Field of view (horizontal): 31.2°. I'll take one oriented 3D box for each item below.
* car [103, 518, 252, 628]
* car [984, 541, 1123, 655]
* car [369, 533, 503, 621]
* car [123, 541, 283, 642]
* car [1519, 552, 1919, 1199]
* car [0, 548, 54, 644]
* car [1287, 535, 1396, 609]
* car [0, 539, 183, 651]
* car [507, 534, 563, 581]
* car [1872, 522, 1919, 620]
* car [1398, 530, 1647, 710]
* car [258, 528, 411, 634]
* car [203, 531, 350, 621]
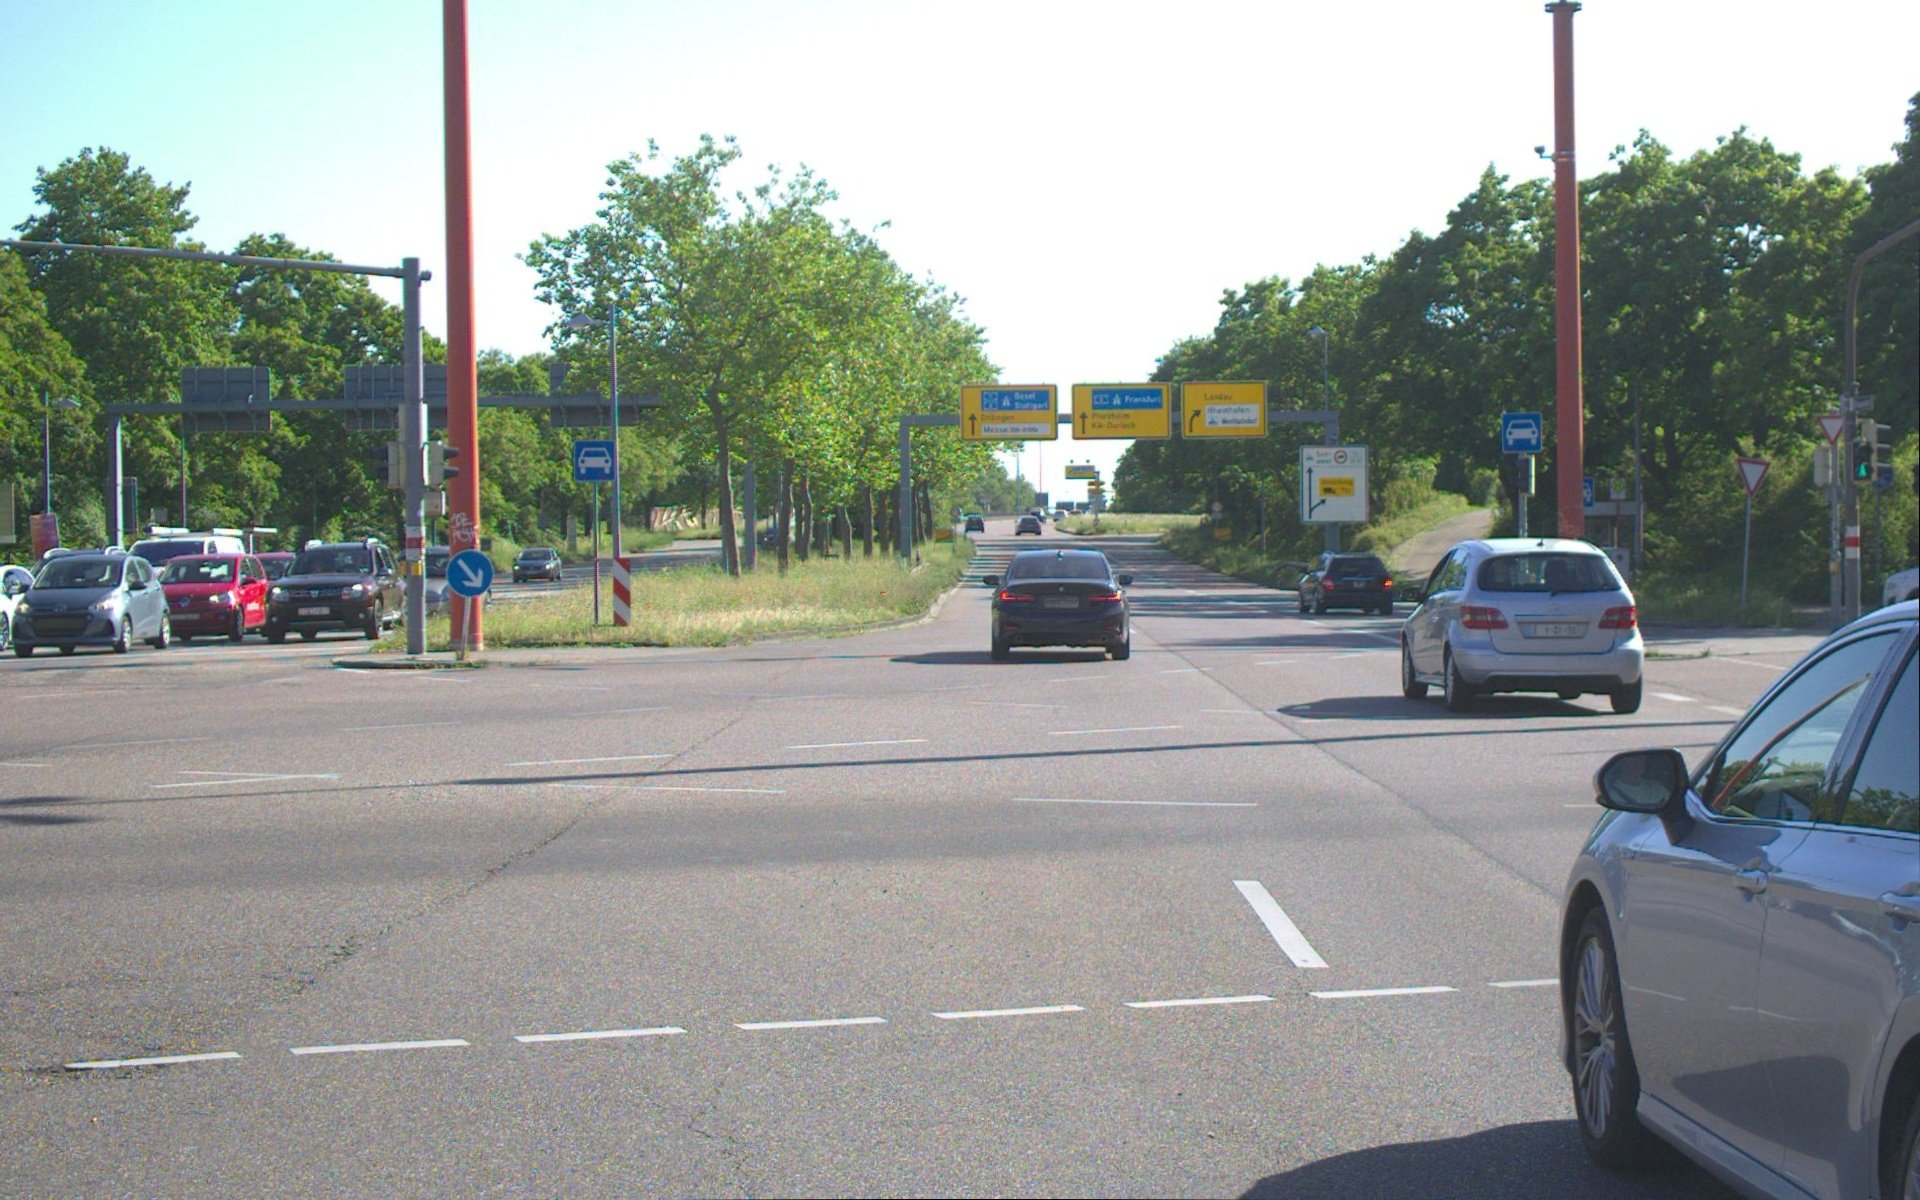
[{"bbox_3d":[-16.066,-0.577,70.827,1.961,2.147,5.082,-1,1,-1],"label":"car"},{"bbox_3d":[1.216,-0.047,46.331,1.764,1.436,4.295,1,1,0],"label":"car"},{"bbox_3d":[-9.688,-0.452,63.842,1.885,1.538,4.000,-2,1,-1],"label":"car"},{"bbox_3d":[-12.865,-0.166,58.626,1.875,1.547,4.000,-3,1,-2],"label":"car"},{"bbox_3d":[2.469,0.676,6.911,1.804,1.488,4.683,1,1,-1],"label":"car"},{"bbox_3d":[-16.530,-0.058,57.279,1.901,1.549,4.000,-2,1,-2],"label":"car"},{"bbox_3d":[8.793,-0.658,79.483,1.763,1.630,4.299,1,1,-4],"label":"car"},{"bbox_3d":[-13.216,-0.106,52.288,1.874,1.545,4.028,-2,1,-1],"label":"car"},{"bbox_3d":[-18.376,-1.866,148.814,1.920,1.992,4.604,-1,1,-1],"label":"car"},{"bbox_3d":[17.595,-0.497,57.423,4.290,1.629,1.767,0,1,28],"label":"car"},{"bbox_3d":[5.310,0.162,32.911,1.716,1.602,3.847,1,1,0],"label":"car"},{"bbox_3d":[-10.211,-0.335,56.363,1.793,1.620,4.144,-2,1,-1],"label":"car"},{"bbox_3d":[-12.804,-0.462,64.622,1.901,1.624,4.000,0,1,1],"label":"car"}]
